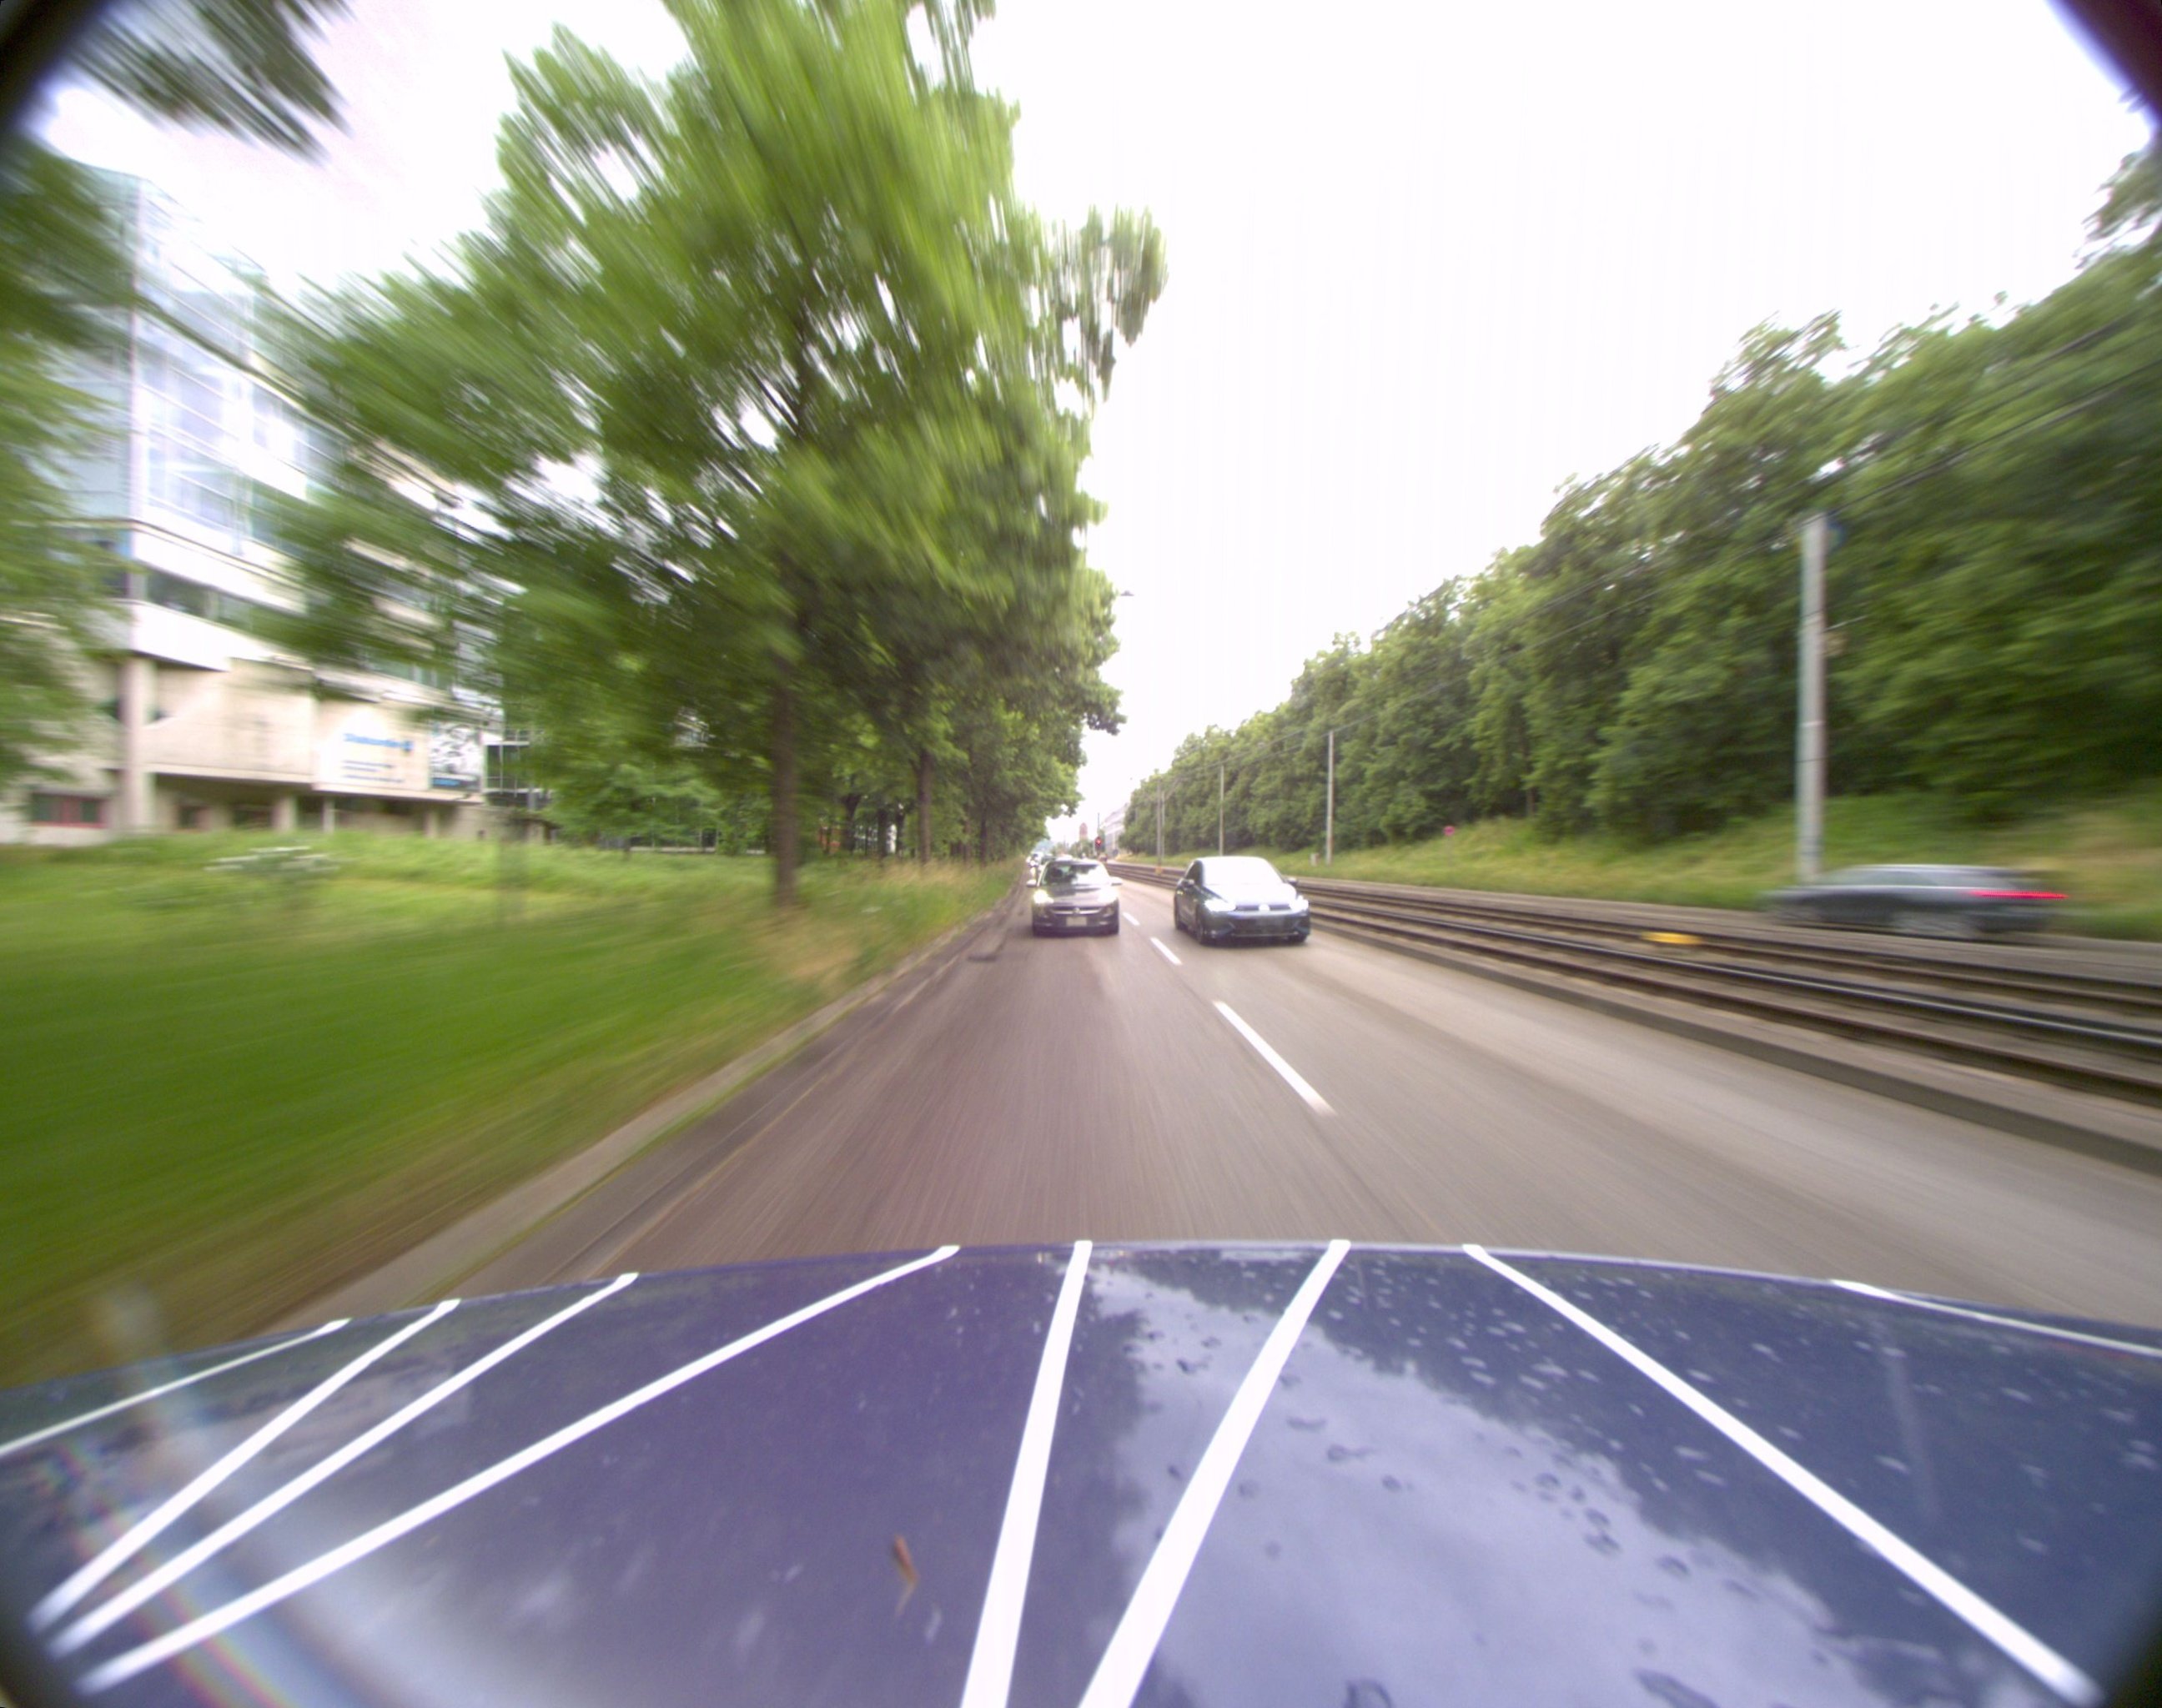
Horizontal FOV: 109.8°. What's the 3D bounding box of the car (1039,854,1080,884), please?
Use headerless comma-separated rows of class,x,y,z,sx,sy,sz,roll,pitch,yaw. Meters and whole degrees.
car,-1.066,0.738,39.155,1.960,1.456,4.699,-1,0,-1

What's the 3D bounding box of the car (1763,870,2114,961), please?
car,17.156,1.143,15.631,1.999,1.423,4.429,3,0,-5

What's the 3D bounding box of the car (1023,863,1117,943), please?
car,-0.139,0.920,16.149,1.710,1.425,4.429,-1,0,2

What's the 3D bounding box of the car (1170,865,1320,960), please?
car,2.806,0.943,13.994,1.813,1.370,4.347,-1,0,0

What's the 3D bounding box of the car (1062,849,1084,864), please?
car,-0.859,0.284,80.213,1.961,1.472,4.697,-2,0,-5

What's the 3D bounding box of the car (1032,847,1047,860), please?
car,-6.622,-0.037,120.410,1.961,1.914,4.843,-2,0,-6

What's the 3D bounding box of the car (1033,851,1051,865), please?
car,-4.467,0.414,87.293,1.961,1.469,4.698,-2,0,-4
